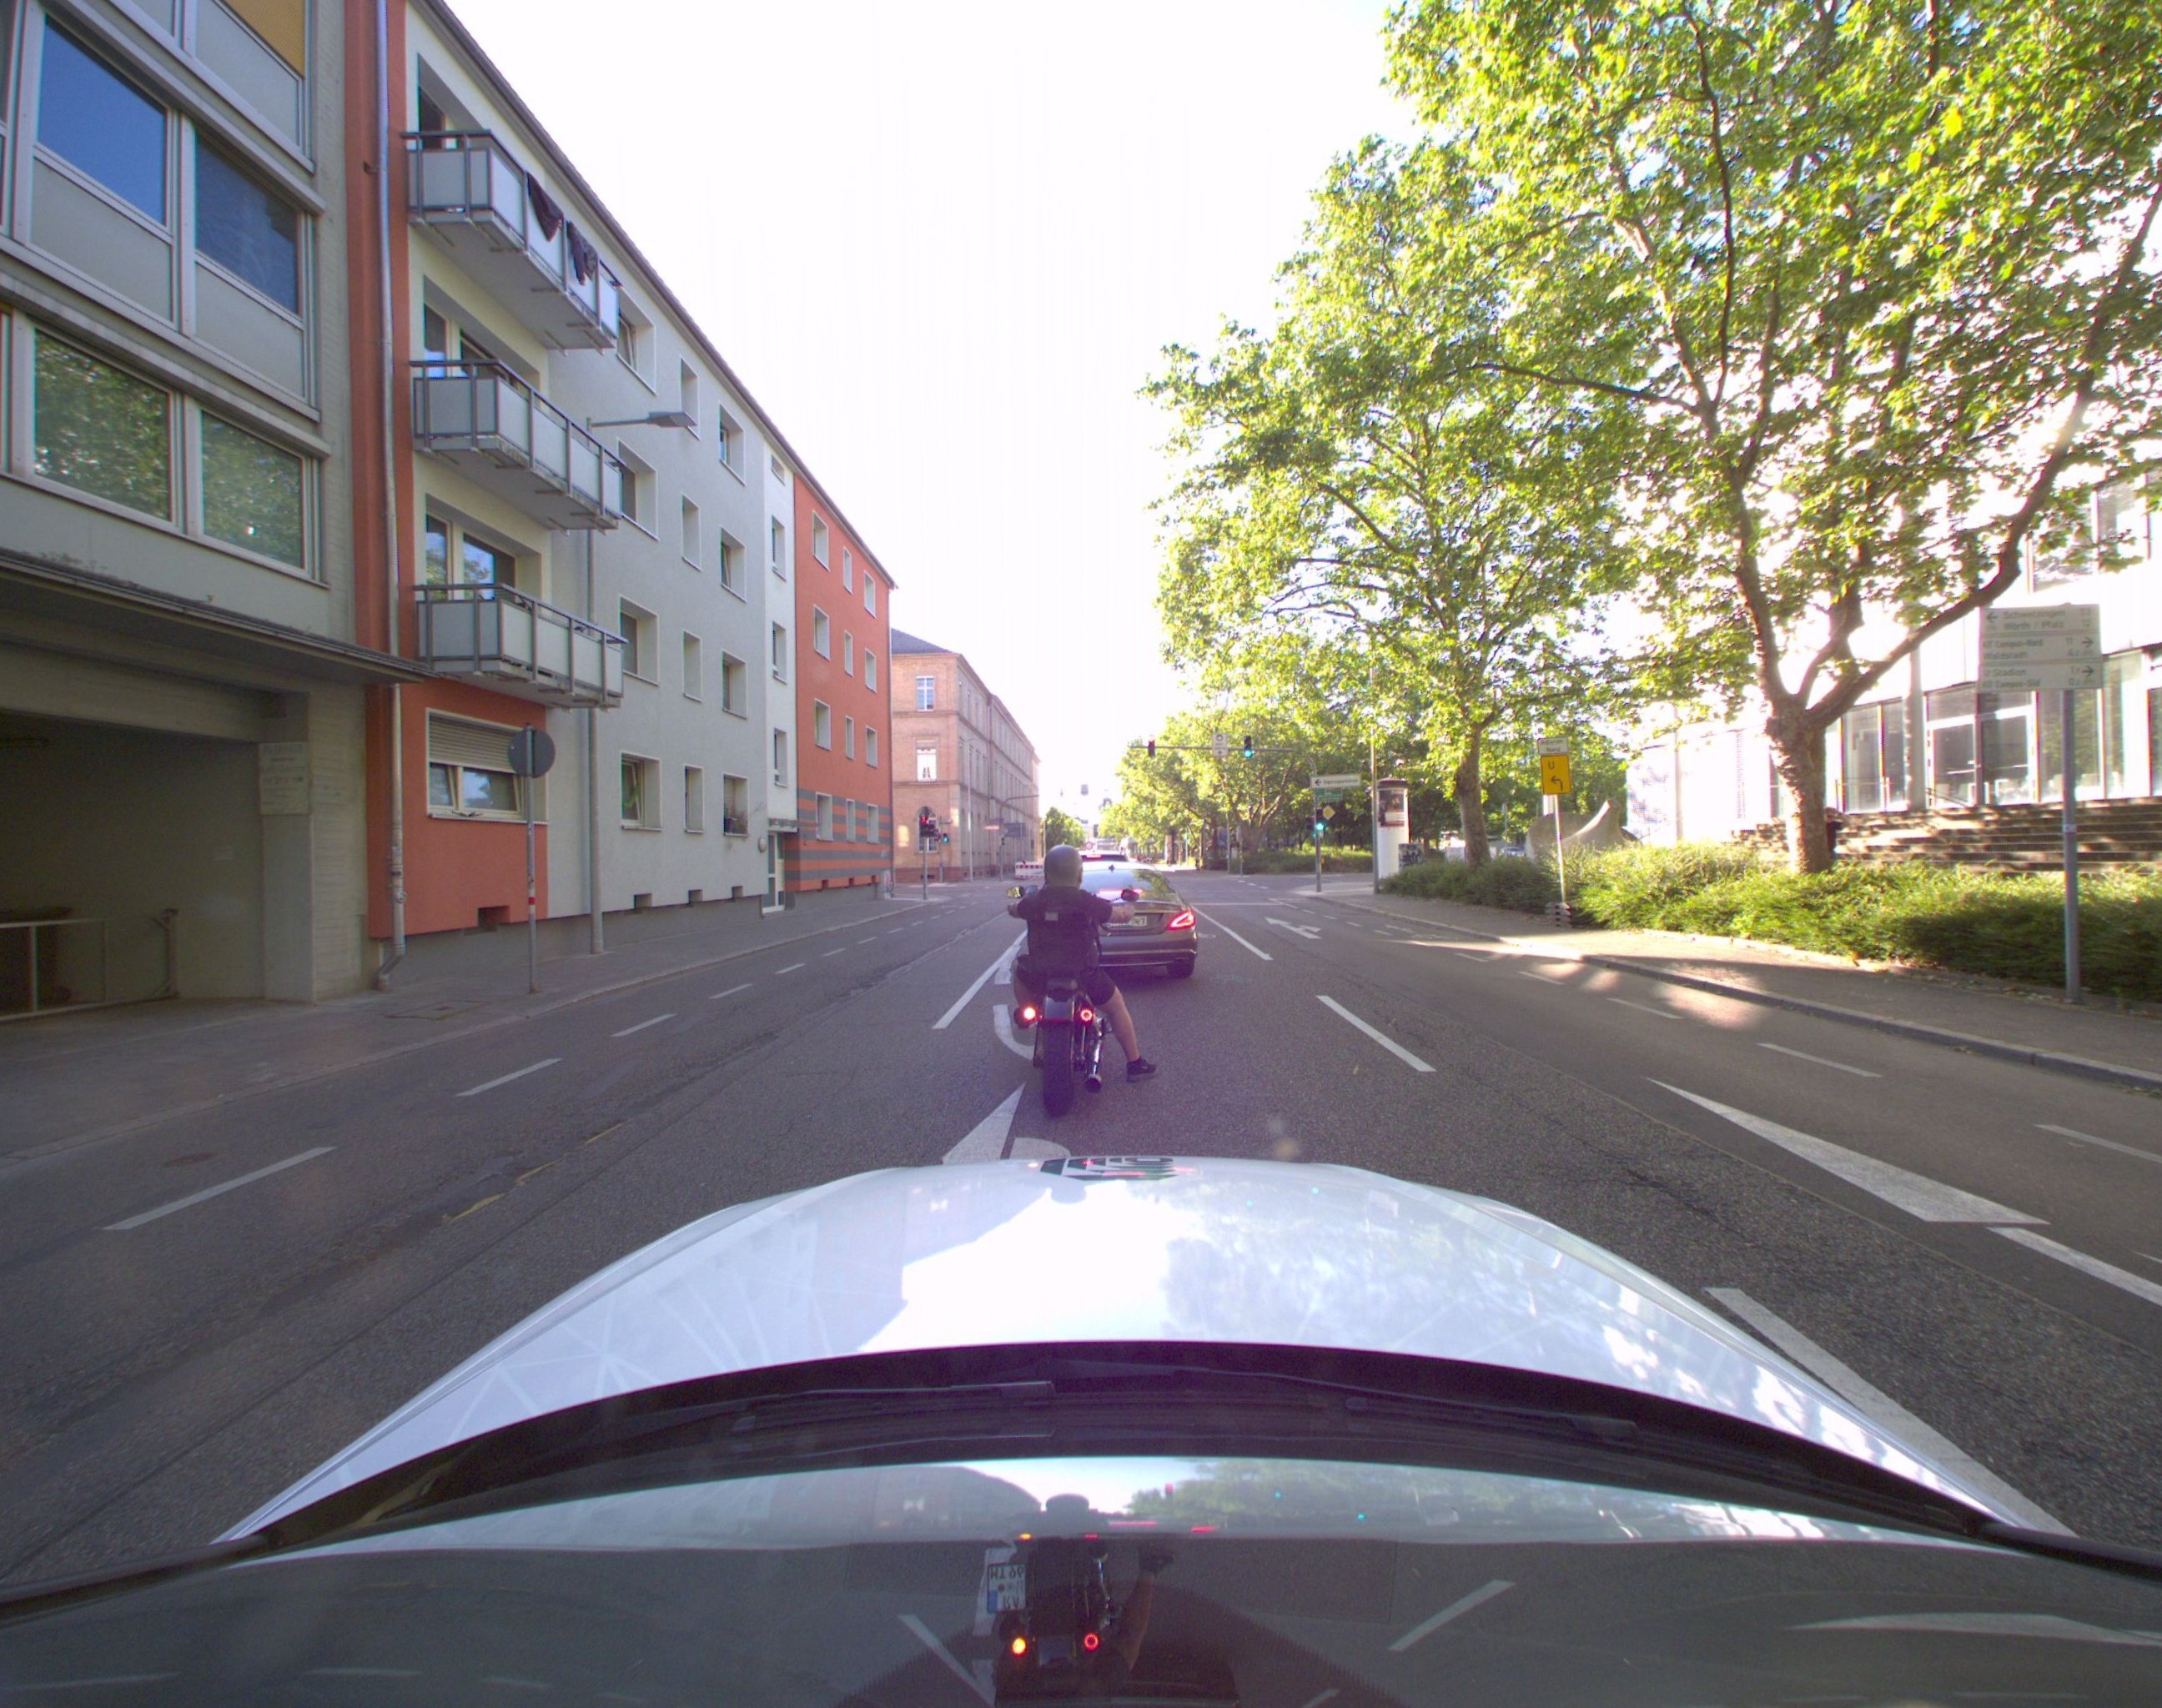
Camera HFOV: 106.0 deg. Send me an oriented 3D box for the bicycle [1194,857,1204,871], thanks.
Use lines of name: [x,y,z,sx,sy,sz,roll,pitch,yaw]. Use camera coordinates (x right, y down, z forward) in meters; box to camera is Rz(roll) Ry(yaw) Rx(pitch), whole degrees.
bicycle: [9.951,0.831,68.690,0.712,1.172,2.179,0,-1,6]

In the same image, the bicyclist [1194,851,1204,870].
bicyclist: [9.939,0.510,68.597,0.712,1.582,0.937,0,-1,6]

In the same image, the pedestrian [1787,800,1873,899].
pedestrian: [13.956,-0.090,15.194,0.781,1.781,0.862,-1,0,0]

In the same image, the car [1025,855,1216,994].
car: [0.294,0.761,10.922,1.900,1.441,4.279,-1,0,-6]

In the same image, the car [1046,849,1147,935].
car: [0.264,0.698,16.888,1.808,1.536,3.847,-1,0,-1]

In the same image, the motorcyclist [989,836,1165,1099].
motorcyclist: [-0.011,0.691,5.384,1.057,1.582,0.908,0,-1,1]

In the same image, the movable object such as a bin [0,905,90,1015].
movable object such as a bin: [-11.330,1.101,8.641,0.736,1.074,0.716,0,-1,2]

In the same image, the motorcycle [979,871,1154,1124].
motorcycle: [-0.046,0.815,5.654,0.958,1.357,2.321,0,-1,2]
